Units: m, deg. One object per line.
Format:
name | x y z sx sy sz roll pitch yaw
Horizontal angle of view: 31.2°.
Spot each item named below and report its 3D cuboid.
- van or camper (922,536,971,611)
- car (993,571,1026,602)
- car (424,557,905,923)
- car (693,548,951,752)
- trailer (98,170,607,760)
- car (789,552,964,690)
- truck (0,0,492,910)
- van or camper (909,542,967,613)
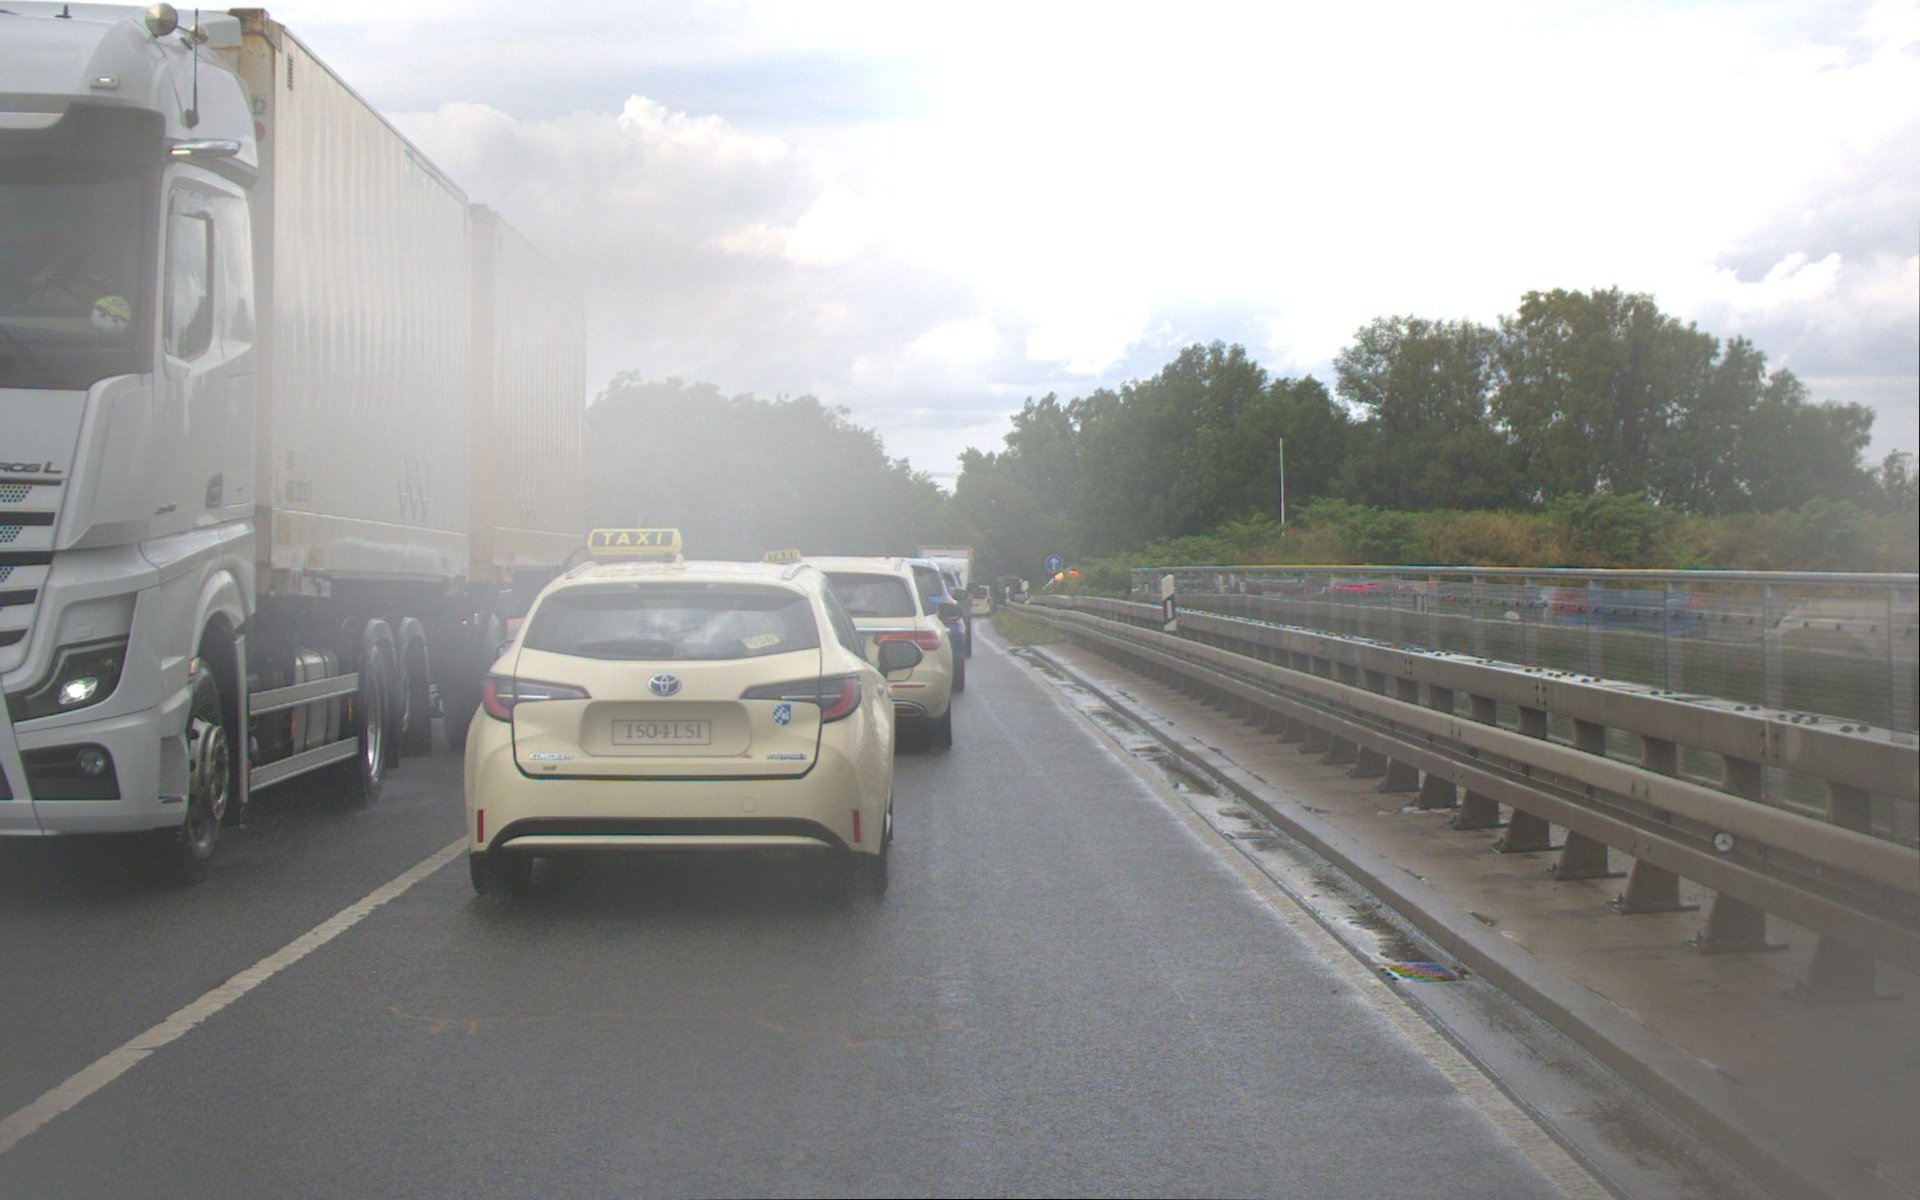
van or camper | -0.681 -1.320 168.025 2.332 3.550 6.307 1 1 -1
car | 3.279 -0.913 227.221 1.993 2.007 4.000 1 1 -1
car | -1.199 0.527 15.636 1.854 1.389 4.171 1 1 -1
car | -1.027 0.334 27.086 1.854 1.438 4.171 1 1 -1
trailer | -4.644 -1.000 28.046 2.682 4.061 8.486 0 1 0
car | -0.924 0.200 39.140 1.854 1.438 4.171 1 1 -1
truck | -4.559 -0.856 18.758 2.682 4.003 10.055 0 1 0
van or camper | -0.918 -0.958 143.693 2.332 2.854 6.307 1 1 -1
